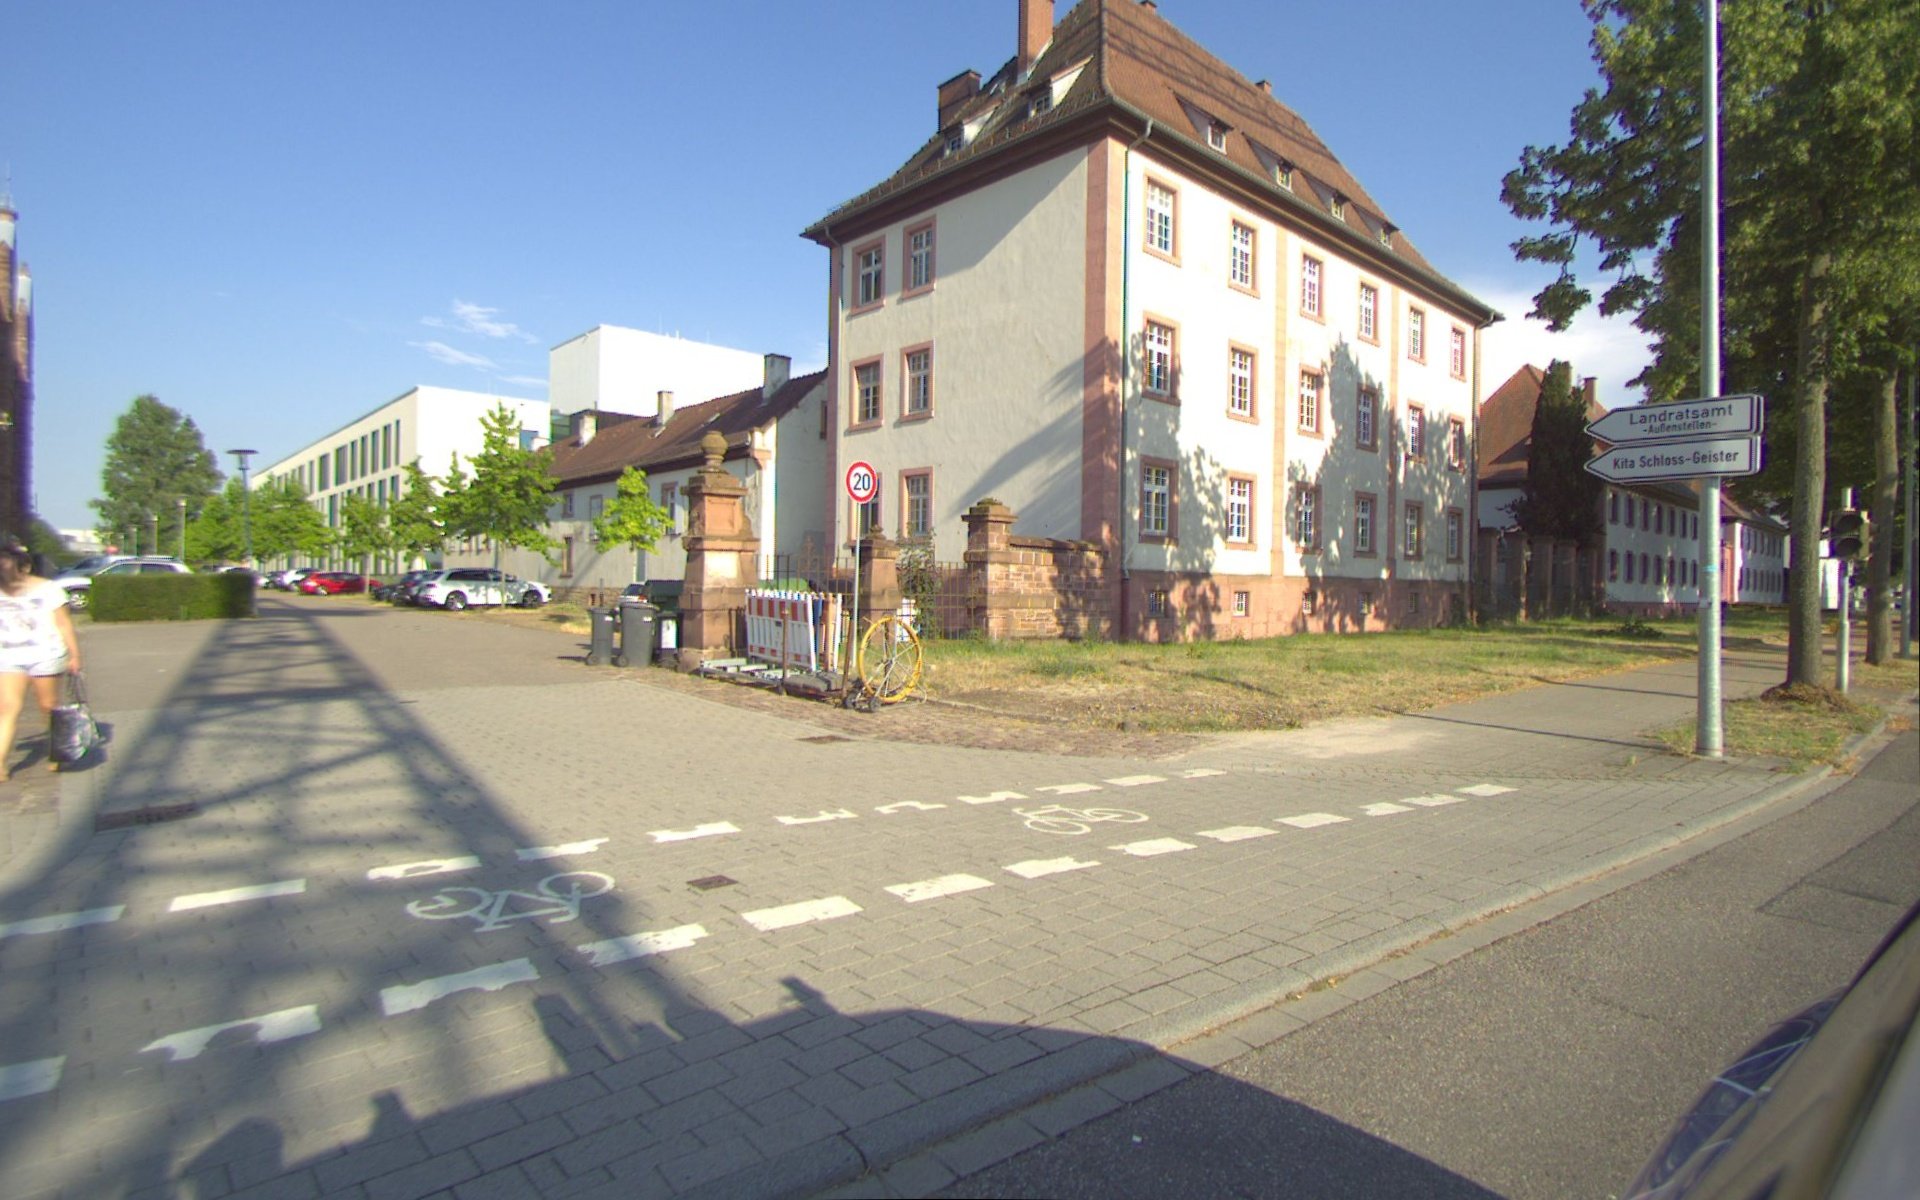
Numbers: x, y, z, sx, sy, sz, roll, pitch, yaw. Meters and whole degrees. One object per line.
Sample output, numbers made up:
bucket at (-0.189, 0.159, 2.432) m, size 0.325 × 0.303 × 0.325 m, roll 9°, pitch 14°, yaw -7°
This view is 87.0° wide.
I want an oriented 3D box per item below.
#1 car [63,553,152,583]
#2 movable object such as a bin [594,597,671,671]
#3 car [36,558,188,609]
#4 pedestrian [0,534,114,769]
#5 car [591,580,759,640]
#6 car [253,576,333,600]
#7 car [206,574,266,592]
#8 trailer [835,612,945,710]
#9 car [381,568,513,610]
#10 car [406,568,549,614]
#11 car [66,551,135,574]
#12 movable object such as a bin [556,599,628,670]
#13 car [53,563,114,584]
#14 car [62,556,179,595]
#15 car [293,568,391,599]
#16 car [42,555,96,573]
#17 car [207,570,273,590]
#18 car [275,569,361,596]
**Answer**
car at (-50.233, -1.886, 59.693) m, size 3.931 × 1.638 × 1.996 m, roll -2°, pitch 0°, yaw -41°
movable object such as a bin at (-5.188, 0.524, 16.020) m, size 0.920 × 1.105 × 0.987 m, roll -2°, pitch 0°, yaw -32°
car at (-29.350, -0.570, 35.151) m, size 3.931 × 1.638 × 1.996 m, roll -2°, pitch 0°, yaw -41°
pedestrian at (-6.783, 0.361, 7.424) m, size 0.713 × 1.631 × 0.778 m, roll -2°, pitch -1°, yaw 42°
car at (-7.734, 0.246, 27.672) m, size 3.935 × 1.471 × 1.994 m, roll -2°, pitch 0°, yaw -45°
car at (-51.230, -0.943, 77.822) m, size 4.887 × 1.735 × 1.996 m, roll -2°, pitch 0°, yaw -42°
car at (-74.388, -1.777, 104.029) m, size 4.887 × 1.735 × 1.996 m, roll -2°, pitch 0°, yaw -42°
trailer at (-0.823, 0.704, 12.099) m, size 1.245 × 1.080 × 0.483 m, roll -2°, pitch -1°, yaw -41°
car at (-22.799, -0.498, 45.114) m, size 4.887 × 1.735 × 1.996 m, roll -2°, pitch 0°, yaw -42°
car at (-19.627, -0.397, 41.269) m, size 4.887 × 1.735 × 1.996 m, roll -2°, pitch 0°, yaw -42°
car at (-64.690, -2.809, 76.216) m, size 3.931 × 1.638 × 1.996 m, roll -2°, pitch 0°, yaw -41°
movable object such as a bin at (-6.137, 0.558, 16.873) m, size 0.920 × 1.105 × 0.987 m, roll -2°, pitch 0°, yaw -32°
car at (-75.579, -2.295, 87.337) m, size 3.931 × 1.638 × 1.996 m, roll -2°, pitch 0°, yaw -41°
car at (-37.546, -1.102, 45.327) m, size 3.931 × 1.638 × 1.996 m, roll -2°, pitch 0°, yaw -41°
car at (-38.178, -1.034, 62.588) m, size 4.887 × 1.735 × 1.996 m, roll -2°, pitch 0°, yaw -42°
car at (-87.290, -3.559, 99.213) m, size 3.931 × 1.638 × 1.996 m, roll -2°, pitch 0°, yaw -41°
car at (-68.471, -1.920, 96.279) m, size 4.887 × 1.735 × 1.996 m, roll -2°, pitch 0°, yaw -42°
car at (-45.203, -1.246, 71.313) m, size 4.887 × 1.735 × 1.996 m, roll -2°, pitch 0°, yaw -42°
